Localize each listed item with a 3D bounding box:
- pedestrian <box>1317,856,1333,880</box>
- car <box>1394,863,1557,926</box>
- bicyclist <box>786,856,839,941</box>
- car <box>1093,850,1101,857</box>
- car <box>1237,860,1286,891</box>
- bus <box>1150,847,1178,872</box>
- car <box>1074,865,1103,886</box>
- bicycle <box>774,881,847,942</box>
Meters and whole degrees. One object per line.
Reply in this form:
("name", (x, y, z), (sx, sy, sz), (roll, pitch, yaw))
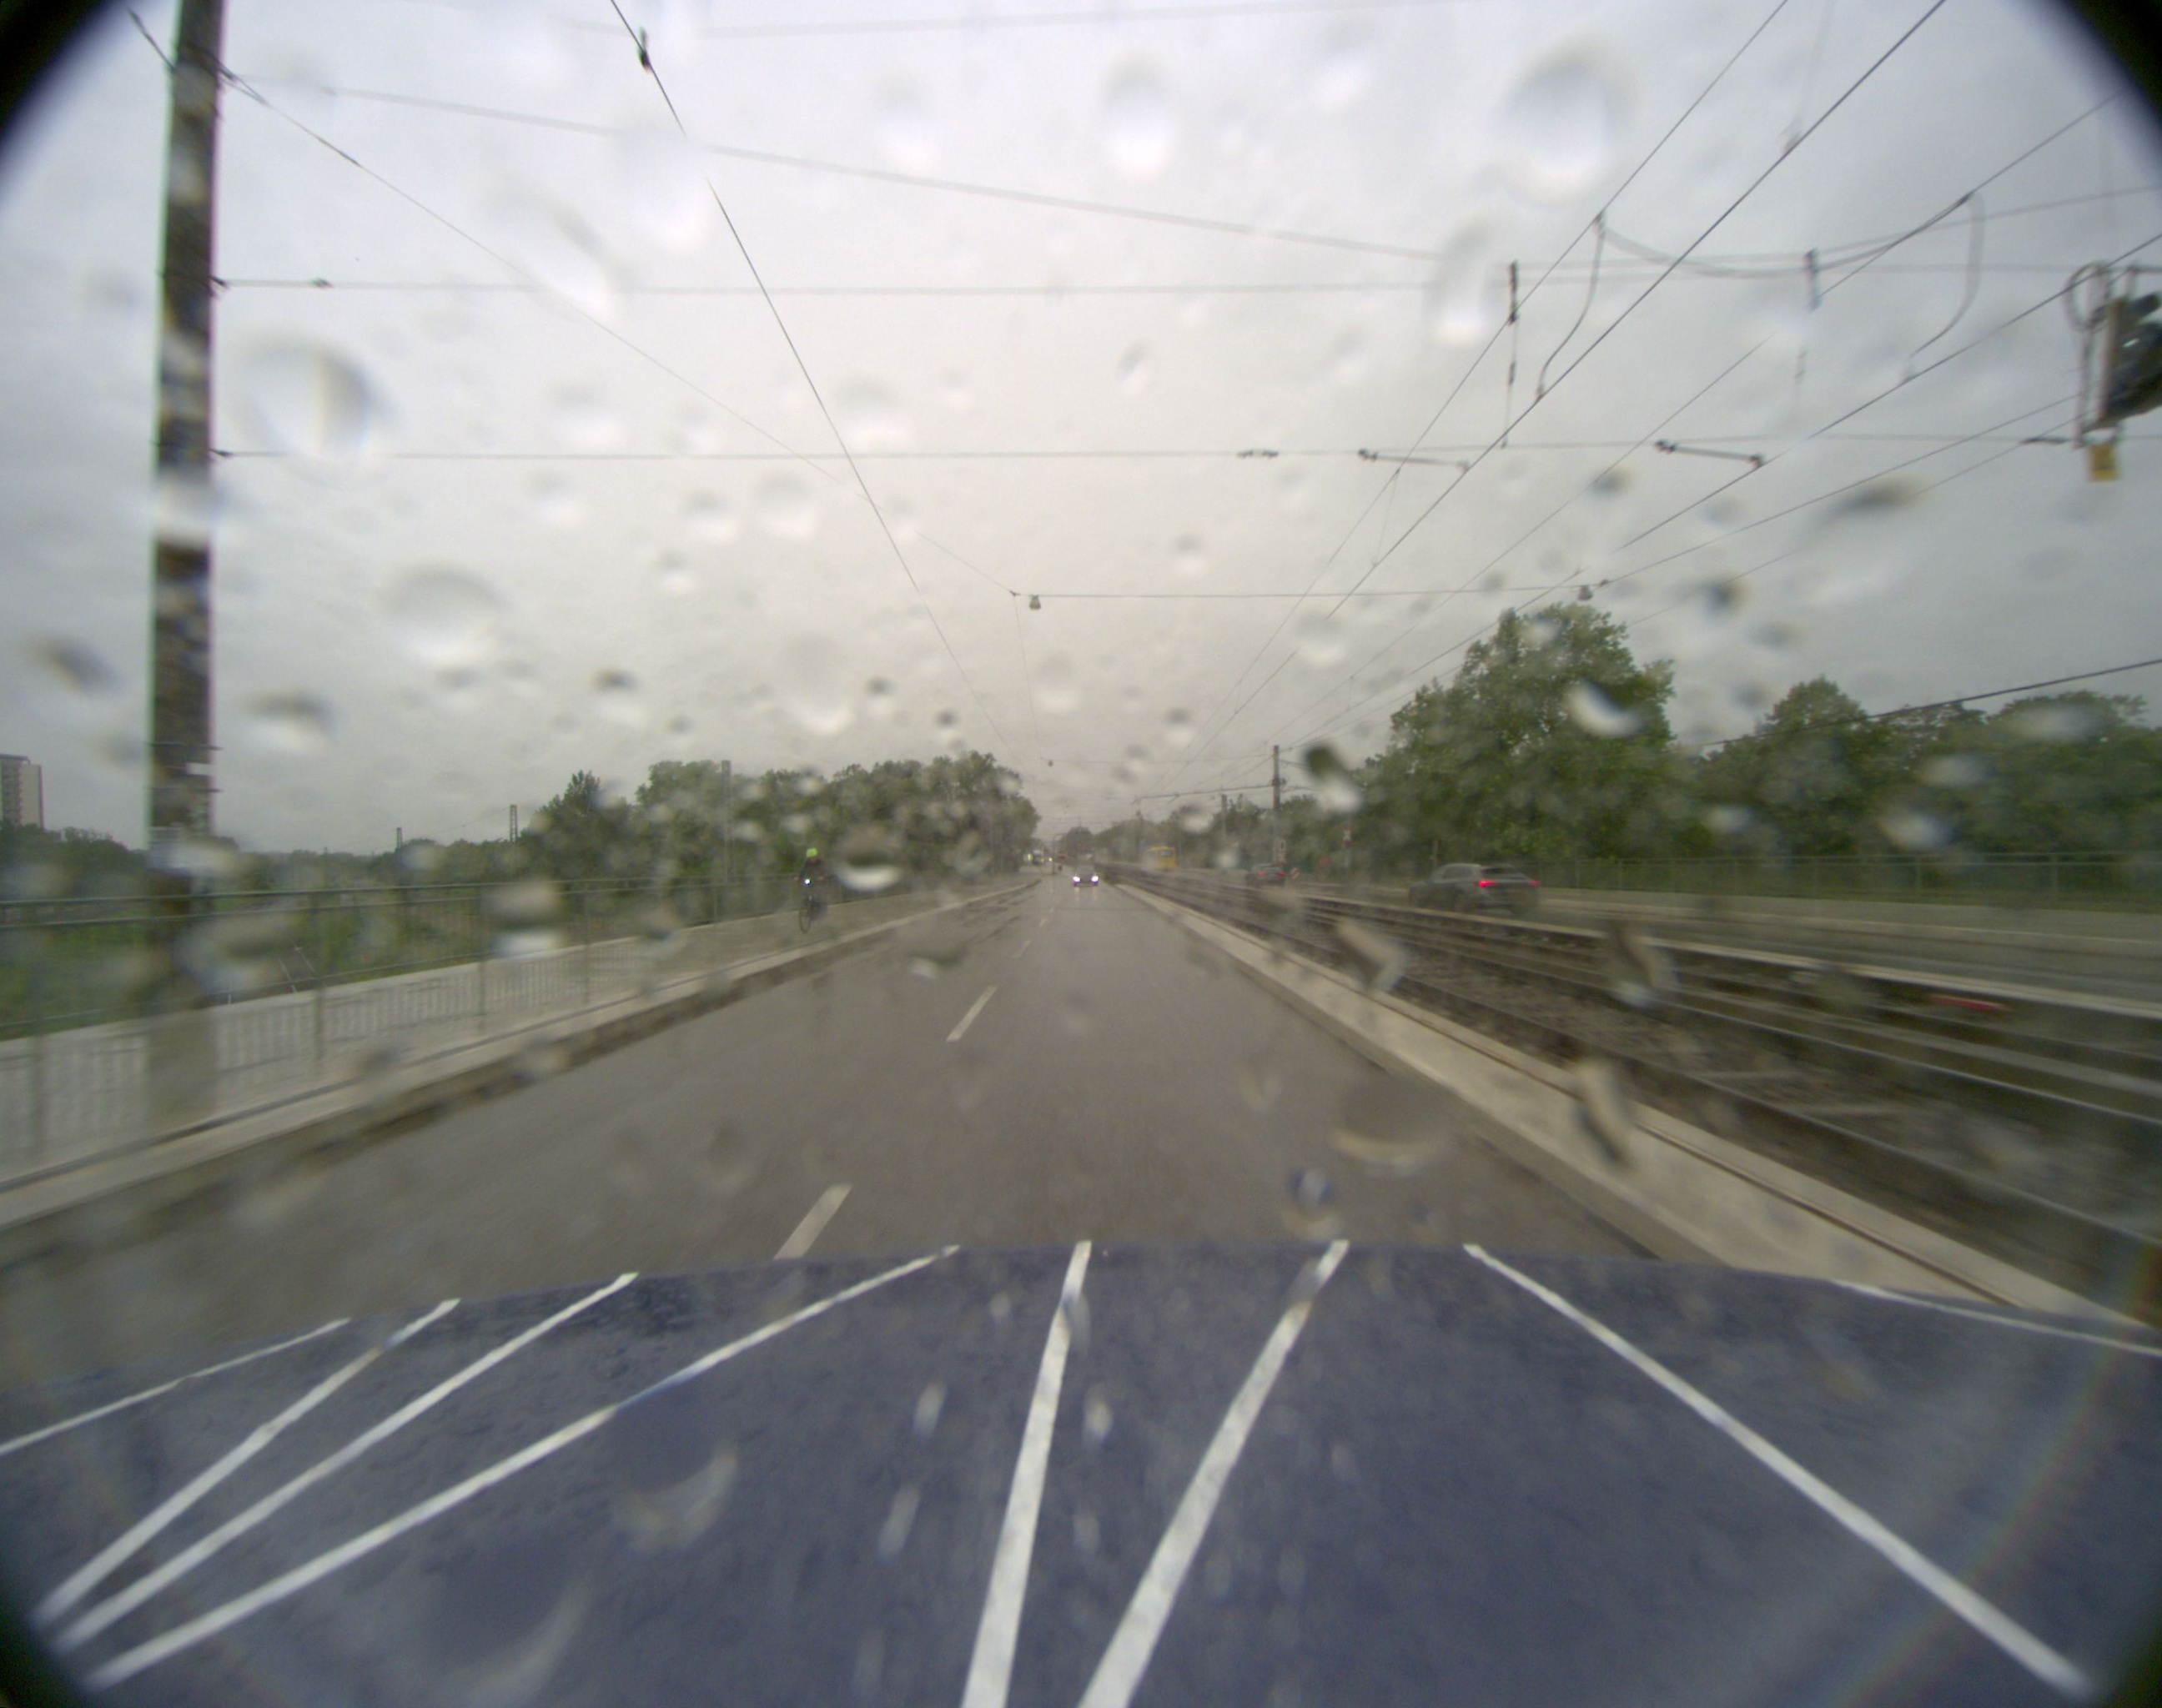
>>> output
("pedestrian", (19.872, 1.132, 61.853), (0.867, 1.808, 1.042), (-3, 2, -1))
("car", (11.408, 1.098, 22.499), (1.999, 1.500, 5.111), (1, 1, -2))
("bicyclist", (-5.863, 0.949, 16.641), (0.727, 1.754, 0.949), (-3, 2, 1))
("car", (4.871, -0.040, 234.629), (1.999, 2.032, 5.026), (-3, 1, -4))
("car", (11.609, 1.344, 49.138), (1.998, 1.707, 4.940), (1, 1, 0))
("bus", (11.409, 0.818, 105.636), (2.715, 3.321, 10.995), (1, -1, 0))
("car", (0.570, 1.670, 61.180), (1.999, 1.497, 4.195), (-3, 0, -4))
("bicycle", (-5.850, 1.213, 16.580), (0.725, 1.122, 2.167), (-3, 0, 1))
